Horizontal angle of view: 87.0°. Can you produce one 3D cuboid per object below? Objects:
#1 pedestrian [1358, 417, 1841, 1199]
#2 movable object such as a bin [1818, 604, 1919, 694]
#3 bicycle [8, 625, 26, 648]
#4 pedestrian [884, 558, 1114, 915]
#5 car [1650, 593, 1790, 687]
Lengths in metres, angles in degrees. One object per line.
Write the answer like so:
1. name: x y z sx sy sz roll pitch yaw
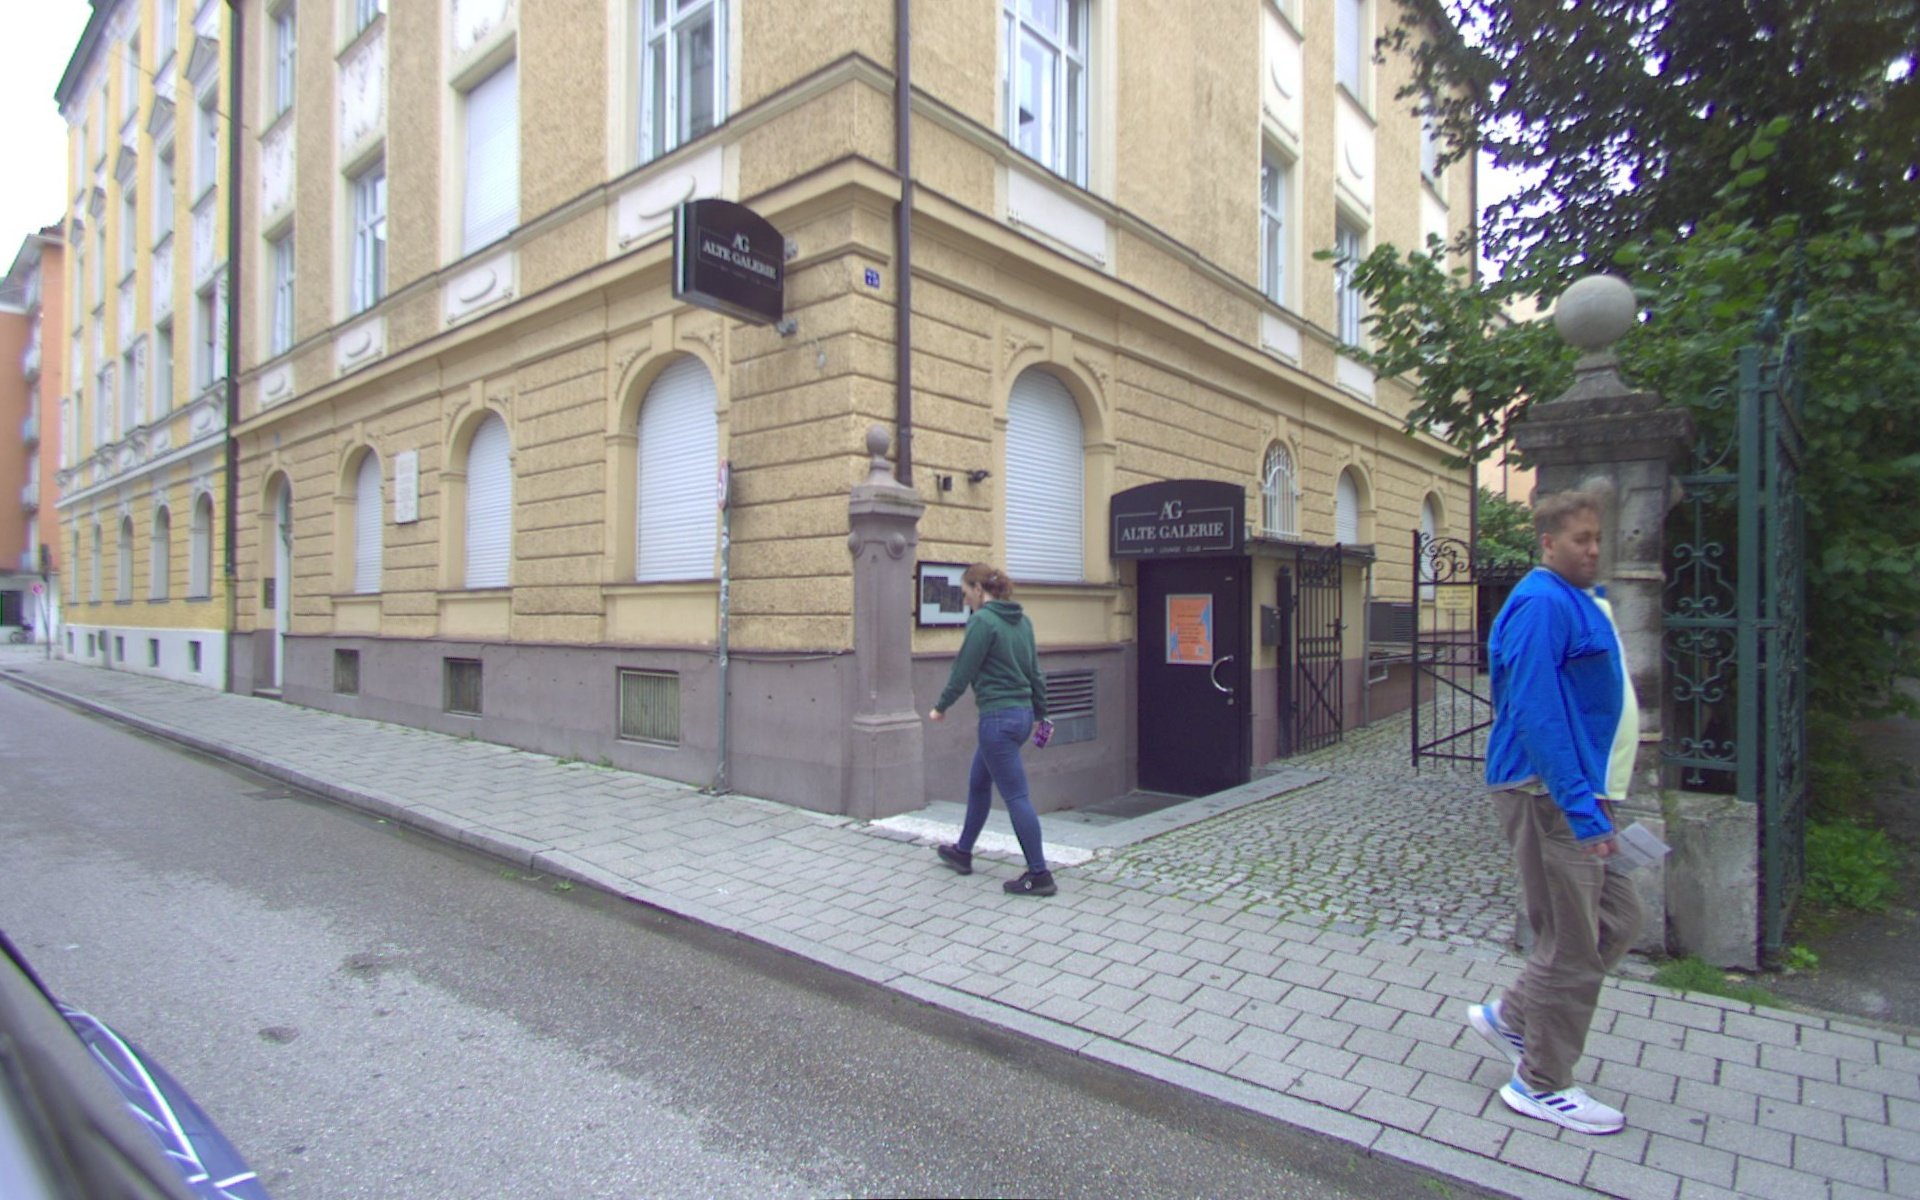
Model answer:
1. pedestrian: 1.861 0.512 2.983 1.076 1.868 0.749 -1 0 41
2. movable object such as a bin: 15.077 0.787 16.804 1.209 1.414 1.109 1 -2 -42
3. bicycle: -39.248 1.502 42.117 1.539 0.944 0.386 -1 -2 41
4. pedestrian: 0.203 0.638 5.324 0.929 1.678 0.705 -1 1 40
5. car: 14.825 0.706 19.675 3.677 1.552 1.636 -3 1 -44
